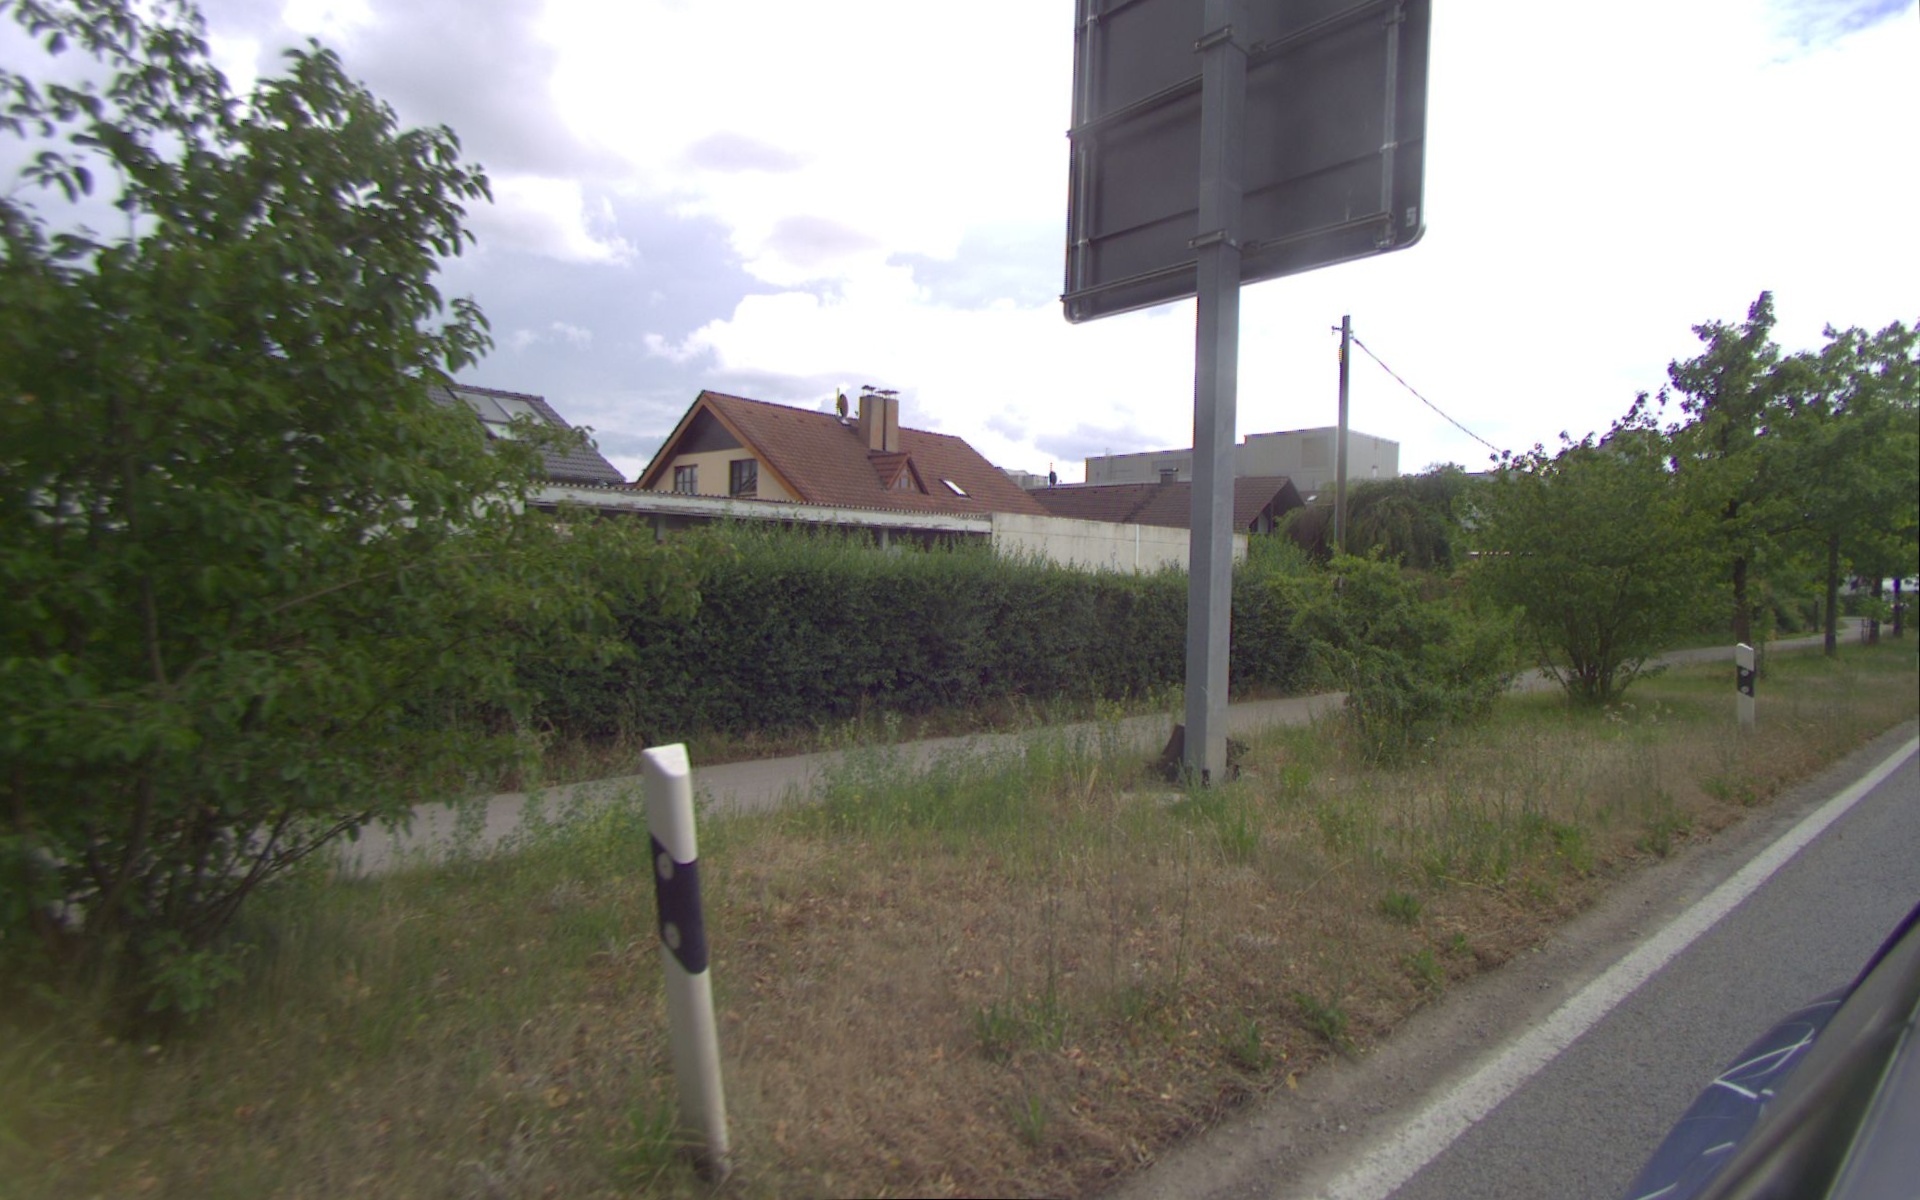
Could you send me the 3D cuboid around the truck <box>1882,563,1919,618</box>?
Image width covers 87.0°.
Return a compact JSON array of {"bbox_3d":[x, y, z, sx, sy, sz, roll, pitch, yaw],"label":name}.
[{"bbox_3d":[63.560,-0.631,67.533,2.604,3.491,7.398,0,0,40],"label":"truck"}]
